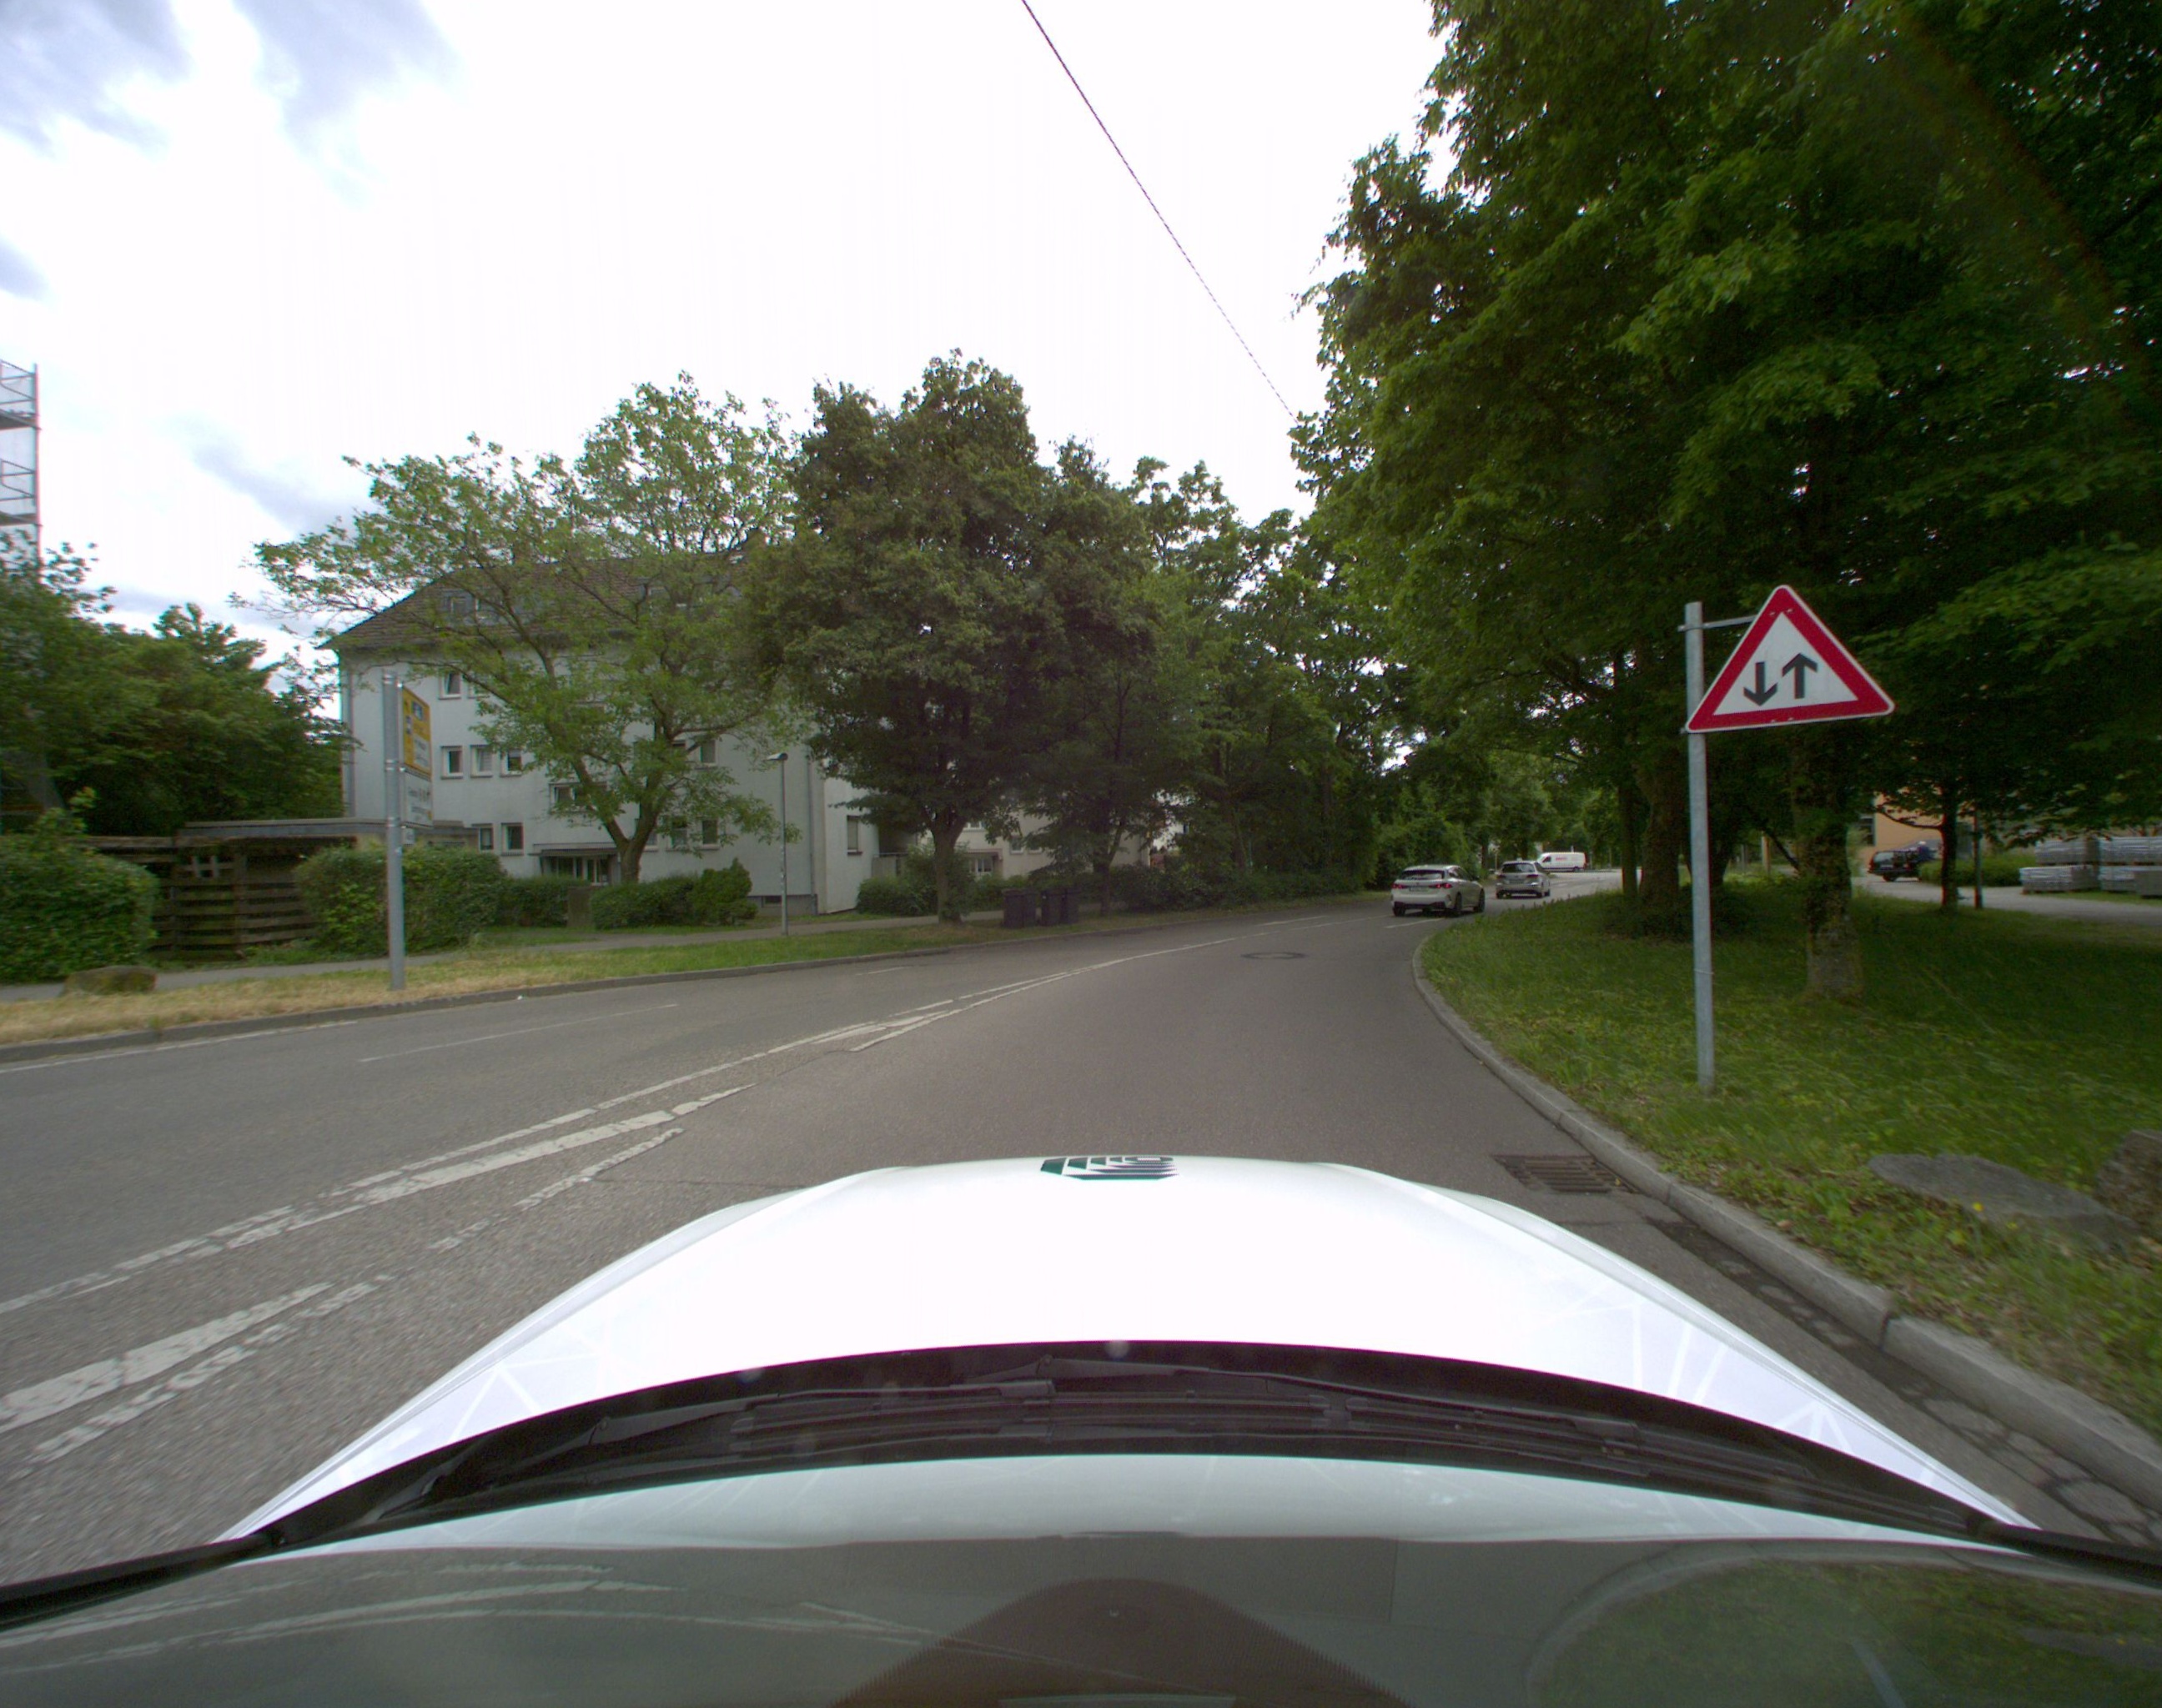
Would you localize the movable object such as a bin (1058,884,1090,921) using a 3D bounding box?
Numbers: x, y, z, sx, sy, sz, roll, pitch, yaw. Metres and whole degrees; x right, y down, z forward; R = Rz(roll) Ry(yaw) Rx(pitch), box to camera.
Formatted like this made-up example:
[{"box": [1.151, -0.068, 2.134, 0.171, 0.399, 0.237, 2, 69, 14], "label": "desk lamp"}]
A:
[{"box": [-0.181, 1.192, 20.184, 0.579, 0.845, 0.595, 0, 1, -28], "label": "movable object such as a bin"}]

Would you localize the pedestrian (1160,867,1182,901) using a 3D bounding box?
[{"box": [4.157, 1.373, 37.527, 0.602, 1.500, 0.877, 1, 1, 41], "label": "pedestrian"}]

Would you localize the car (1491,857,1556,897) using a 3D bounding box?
[{"box": [18.877, 0.960, 34.658, 1.904, 1.574, 4.025, -2, -1, 35], "label": "car"}]

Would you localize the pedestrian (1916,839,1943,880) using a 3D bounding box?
[{"box": [37.564, 0.229, 36.044, 0.470, 1.754, 0.586, -5, 0, 11], "label": "pedestrian"}]

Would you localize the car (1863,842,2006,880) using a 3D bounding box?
[{"box": [39.198, 0.330, 37.464, 4.717, 1.517, 1.868, -2, -3, -4], "label": "car"}]

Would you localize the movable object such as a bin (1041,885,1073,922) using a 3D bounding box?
[{"box": [-0.583, 1.201, 19.897, 0.579, 0.866, 0.595, 0, 1, -28], "label": "movable object such as a bin"}]

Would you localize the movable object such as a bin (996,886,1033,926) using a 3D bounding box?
[{"box": [-1.557, 1.209, 19.138, 0.624, 0.863, 0.724, 0, 1, -28], "label": "movable object such as a bin"}]

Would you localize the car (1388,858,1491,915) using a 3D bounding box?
[{"box": [10.689, 0.925, 24.157, 1.778, 1.517, 4.233, -2, -2, 38], "label": "car"}]

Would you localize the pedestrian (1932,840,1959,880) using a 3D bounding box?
[{"box": [38.274, 0.243, 36.060, 0.493, 1.725, 0.538, -5, 0, 11], "label": "pedestrian"}]

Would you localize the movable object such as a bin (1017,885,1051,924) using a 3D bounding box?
[{"box": [-1.131, 1.198, 19.617, 0.594, 0.879, 0.615, 0, 1, -28], "label": "movable object such as a bin"}]

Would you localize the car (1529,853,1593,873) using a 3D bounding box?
[{"box": [61.527, 1.113, 104.538, 6.927, 2.522, 2.087, 0, 1, 3], "label": "car"}]
